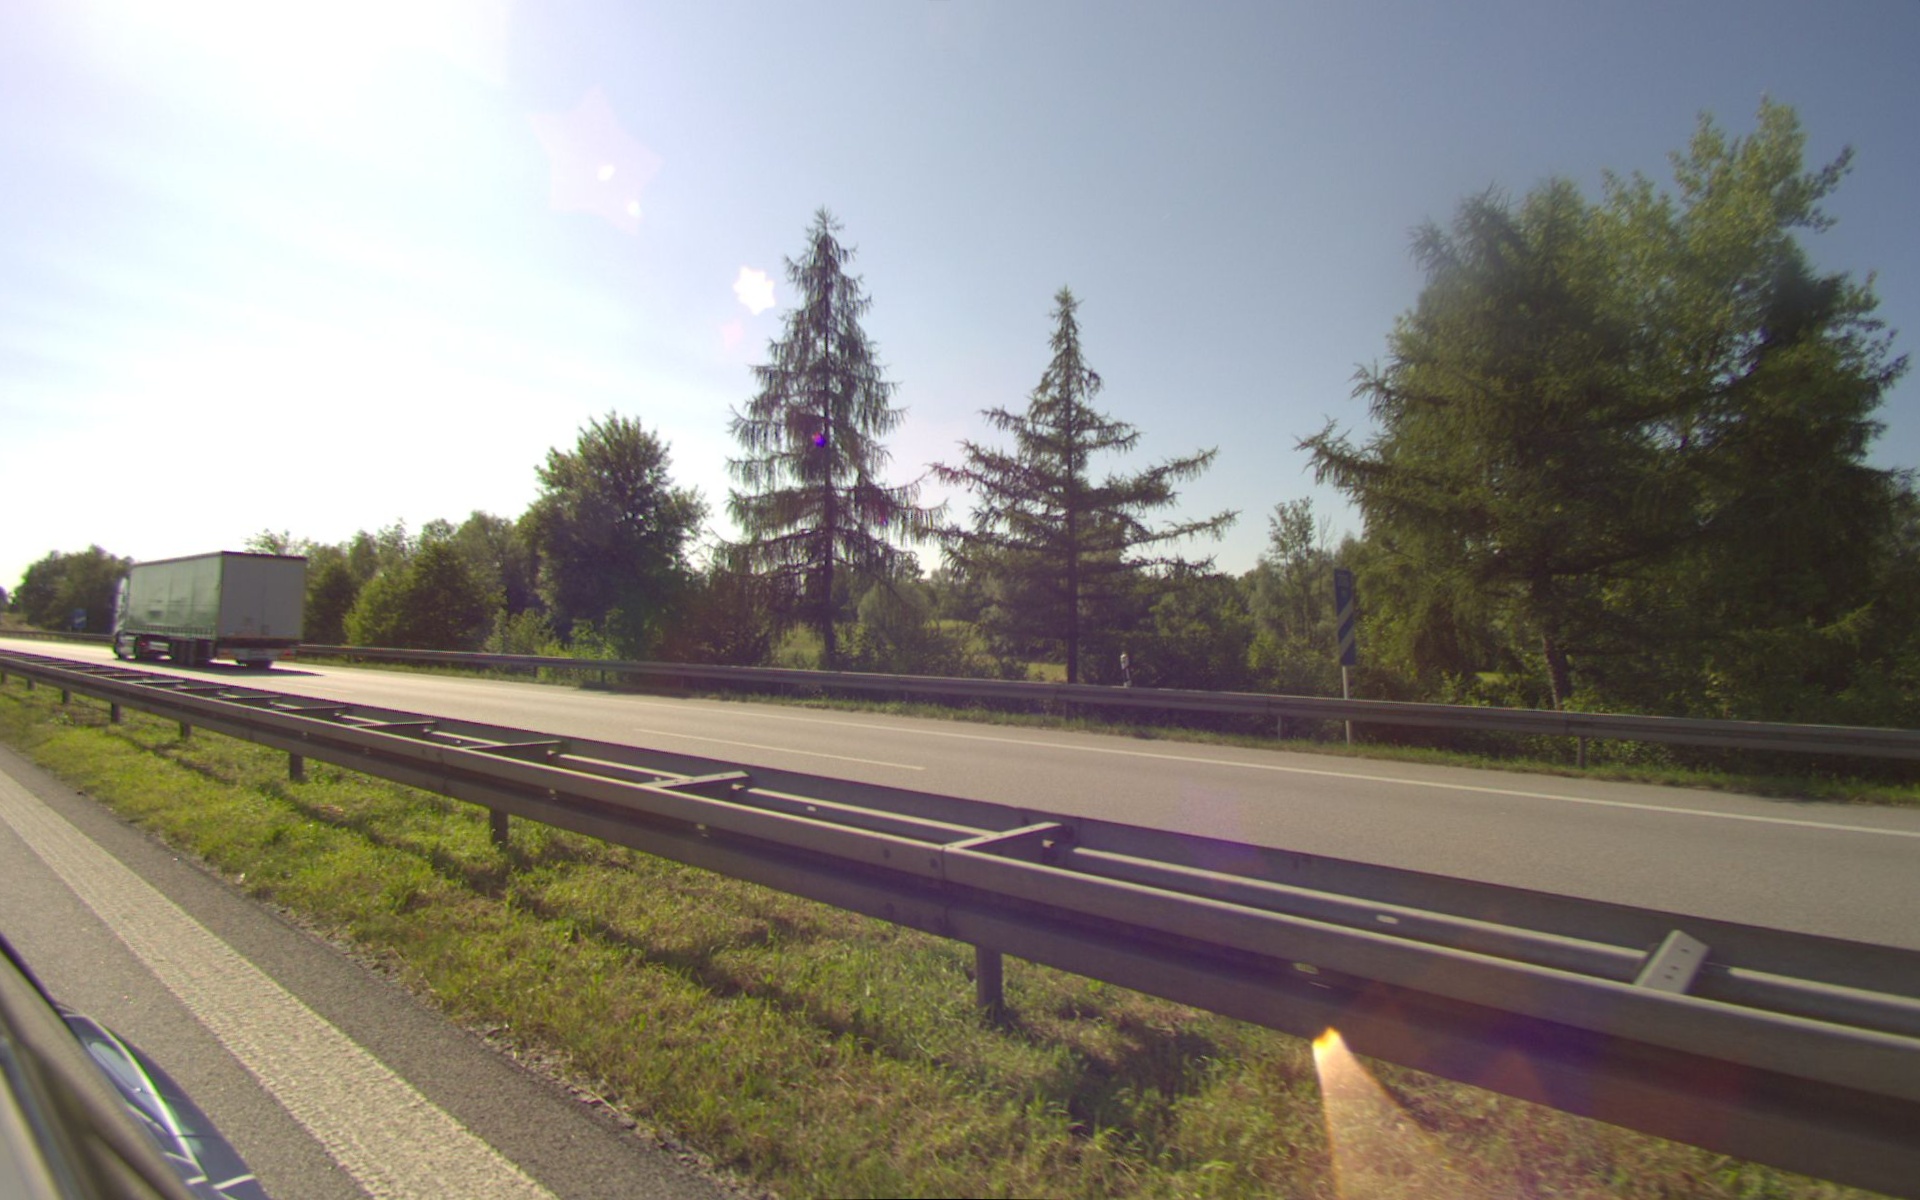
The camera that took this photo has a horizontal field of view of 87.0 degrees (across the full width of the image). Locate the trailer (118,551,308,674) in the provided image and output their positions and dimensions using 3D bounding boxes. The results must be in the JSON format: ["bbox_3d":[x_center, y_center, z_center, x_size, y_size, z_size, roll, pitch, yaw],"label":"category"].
[{"bbox_3d":[-29.100,0.583,38.961,14.077,4.039,2.634,-1,-4,41],"label":"trailer"}]

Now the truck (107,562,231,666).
[{"bbox_3d":[-33.411,0.664,42.638,7.188,4.039,2.616,-1,-4,41],"label":"truck"}]
